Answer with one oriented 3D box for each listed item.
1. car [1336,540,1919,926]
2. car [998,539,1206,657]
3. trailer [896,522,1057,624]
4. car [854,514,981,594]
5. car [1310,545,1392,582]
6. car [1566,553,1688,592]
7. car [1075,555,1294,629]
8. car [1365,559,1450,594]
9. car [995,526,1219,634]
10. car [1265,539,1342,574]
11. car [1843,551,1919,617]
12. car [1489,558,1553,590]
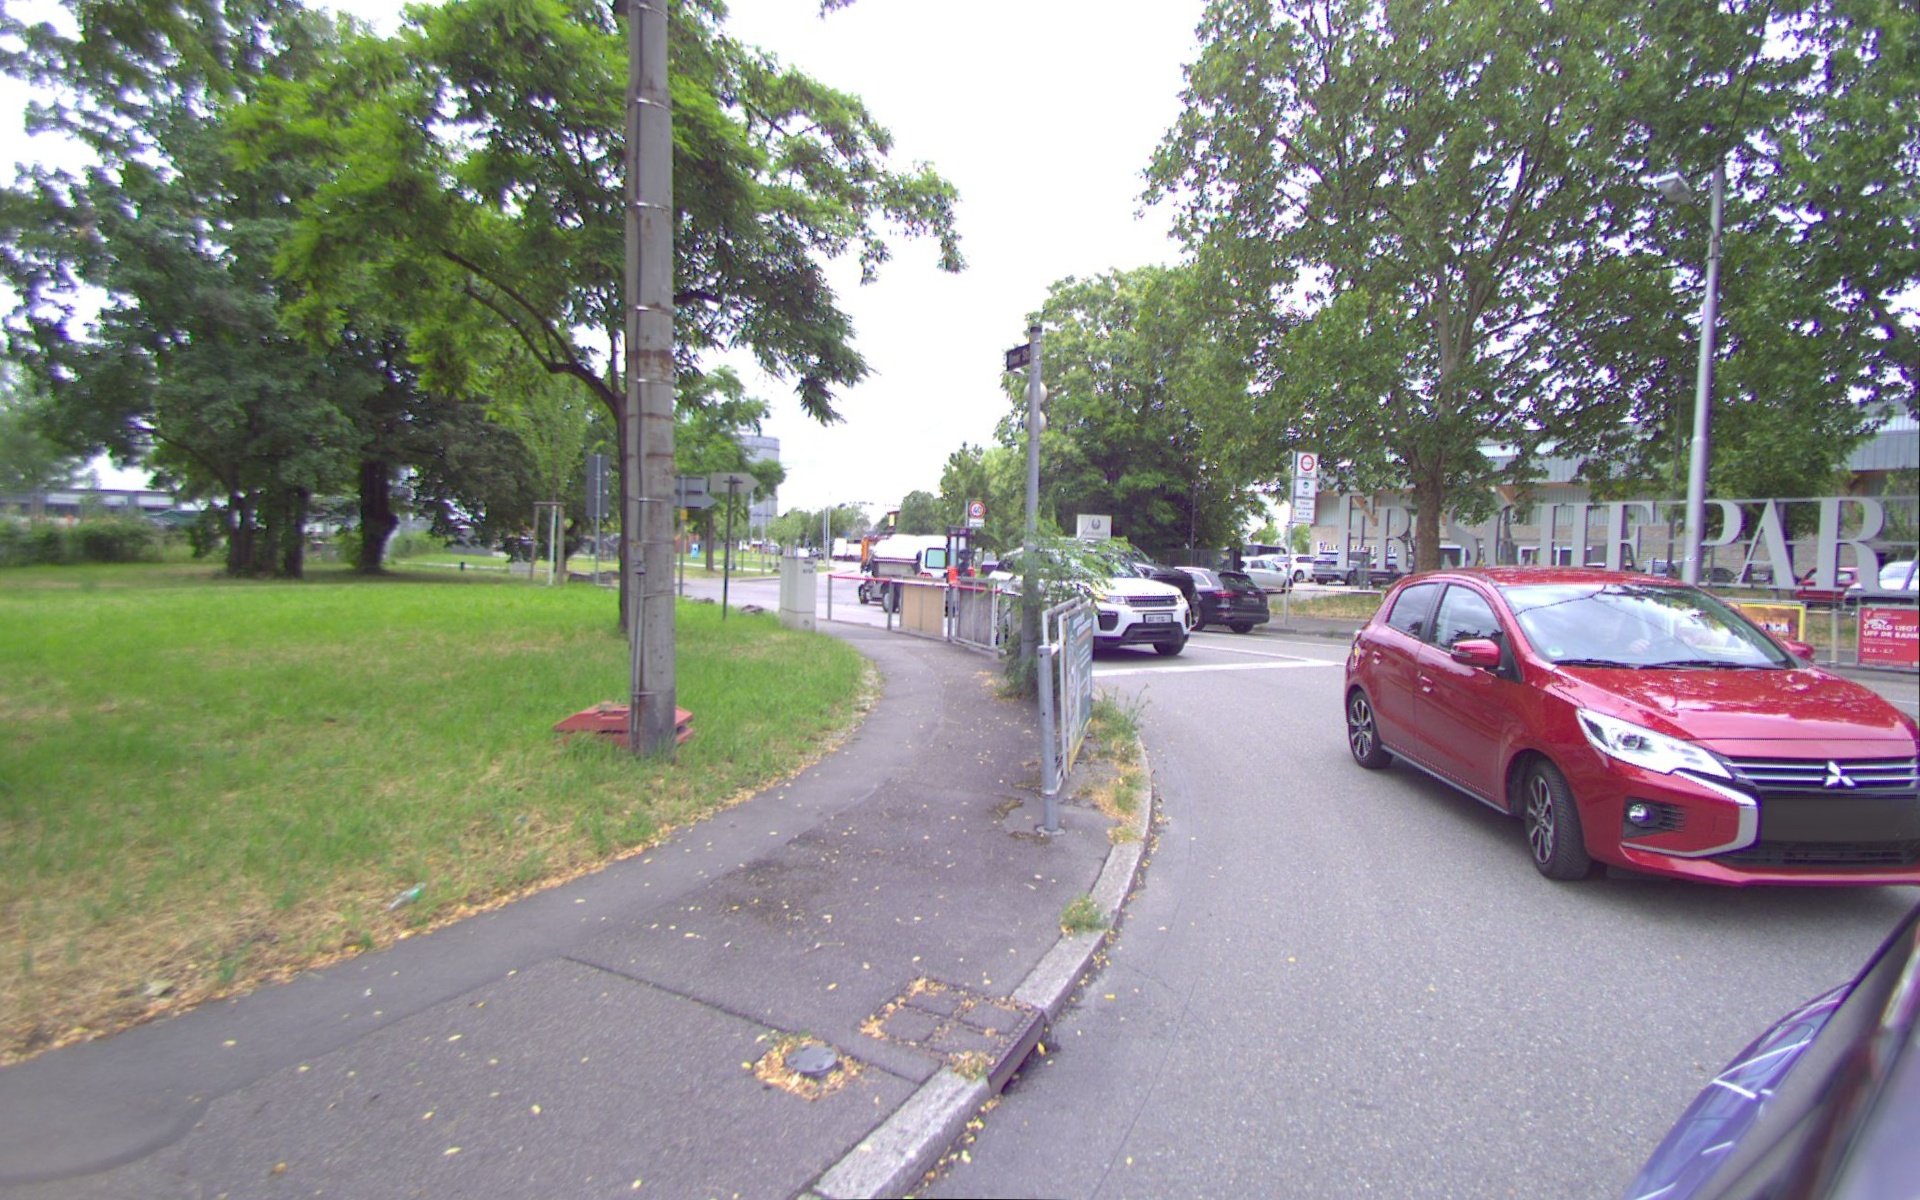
[{"bbox_3d":[3.706,0.457,5.926,1.736,1.548,3.739,0,2,3],"label":"car"},{"bbox_3d":[2.063,-0.158,15.991,1.877,1.588,4.124,-1,4,-13],"label":"car"},{"bbox_3d":[0.274,-0.779,26.869,2.106,2.416,5.401,1,3,-24],"label":"trailer"},{"bbox_3d":[-1.679,-1.526,36.096,2.148,2.573,6.494,-1,1,-25],"label":"car"},{"bbox_3d":[19.578,-1.824,50.648,3.925,1.721,1.917,0,4,-36],"label":"car"},{"bbox_3d":[26.514,-1.110,40.209,5.147,1.449,1.940,-2,1,-30],"label":"car"},{"bbox_3d":[5.153,-0.128,24.015,1.960,1.476,5.224,4,-3,-32],"label":"car"},{"bbox_3d":[21.195,-1.095,47.873,3.925,1.526,1.917,0,4,-36],"label":"car"},{"bbox_3d":[2.914,-0.587,21.871,1.910,2.003,5.885,-1,4,-24],"label":"car"},{"bbox_3d":[18.216,-2.296,53.655,3.925,1.721,1.917,0,4,-36],"label":"car"},{"bbox_3d":[23.333,-0.410,23.999,4.604,1.475,2.003,-2,1,-27],"label":"car"},{"bbox_3d":[31.029,-1.424,55.948,3.504,1.705,1.753,-2,1,-35],"label":"car"}]
